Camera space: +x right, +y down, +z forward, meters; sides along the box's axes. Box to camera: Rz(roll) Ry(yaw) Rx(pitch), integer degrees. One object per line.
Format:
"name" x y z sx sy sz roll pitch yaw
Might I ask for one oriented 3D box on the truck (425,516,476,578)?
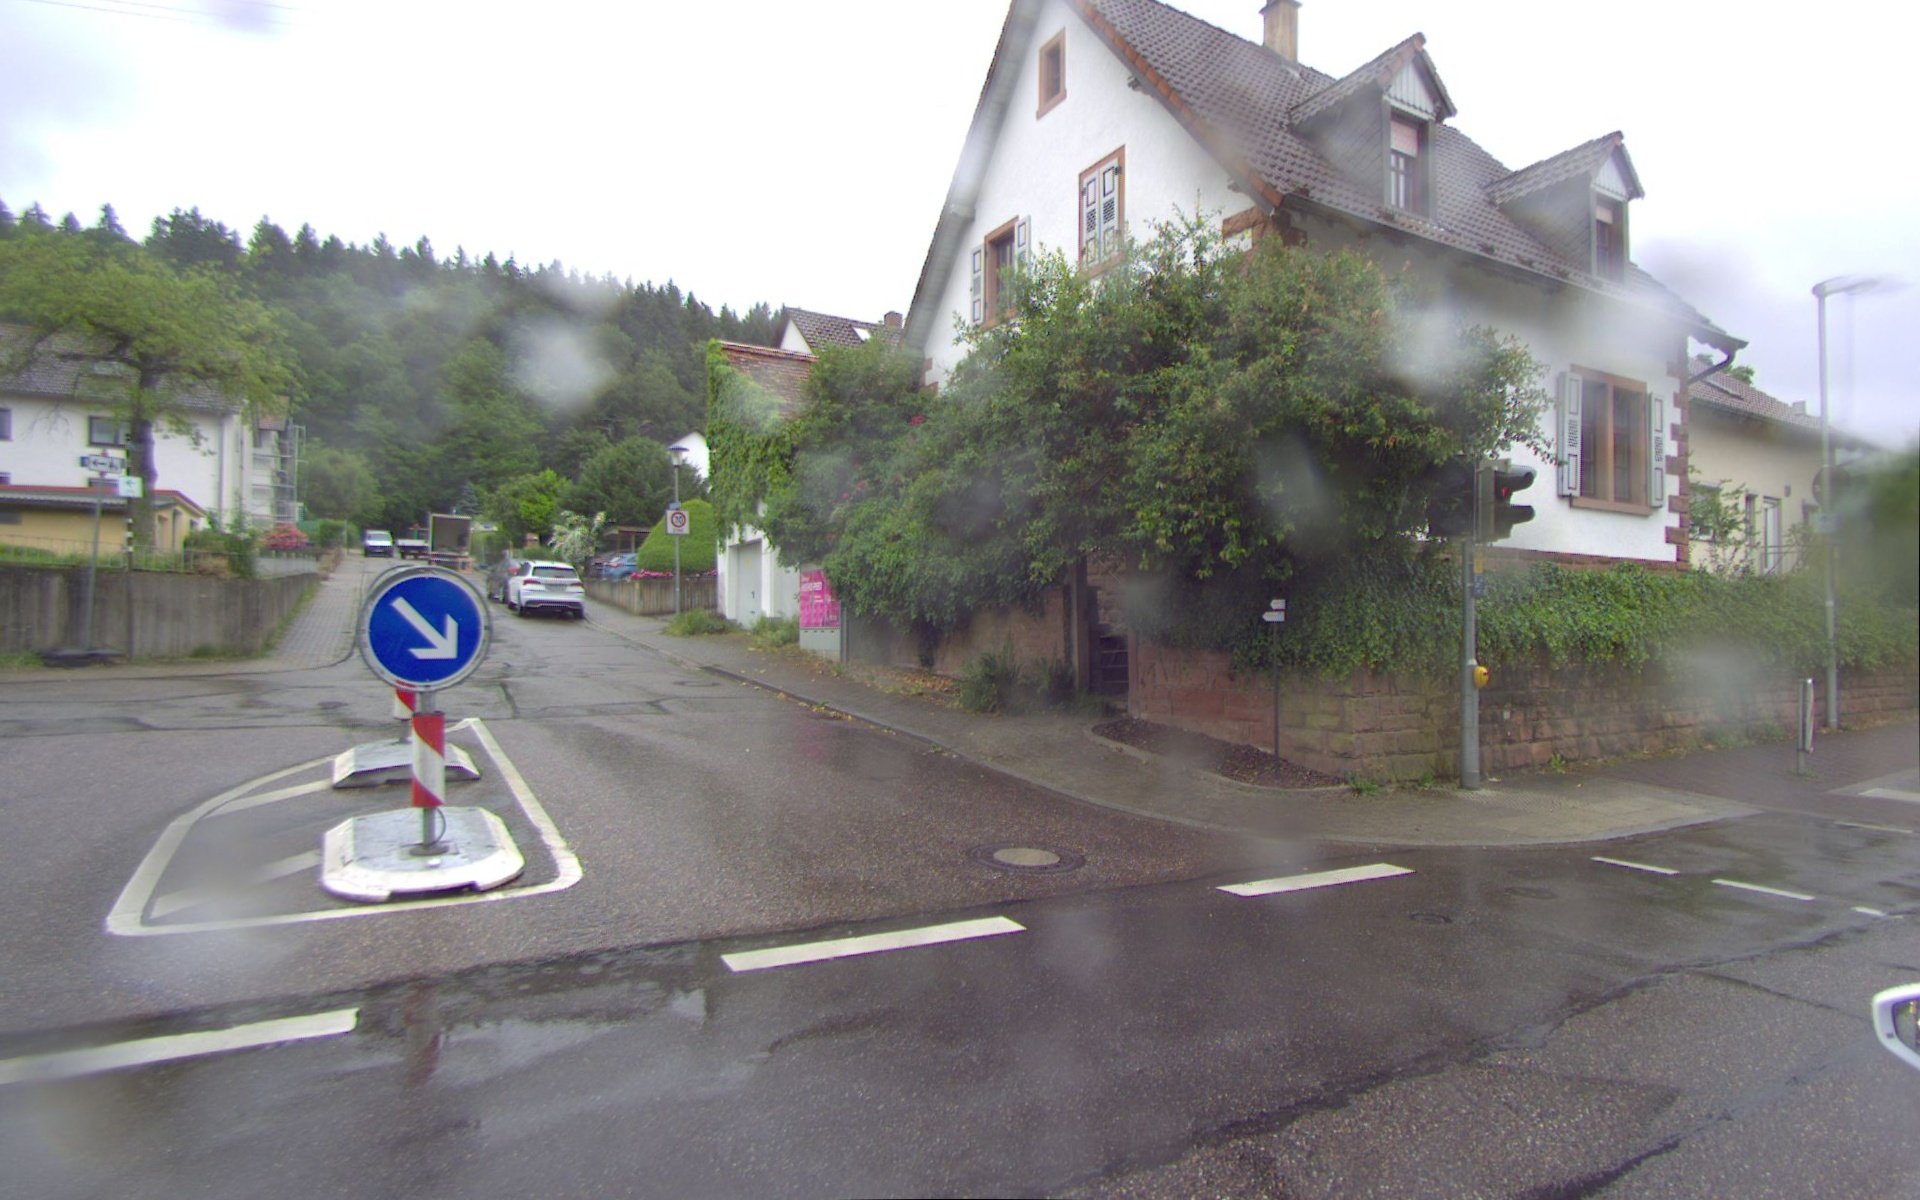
"truck" -30.399 -3.085 59.828 2.424 3.397 6.606 2 1 -29

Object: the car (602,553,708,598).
"car" -12.610 -1.004 41.529 3.846 1.534 1.885 2 5 -30

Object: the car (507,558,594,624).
"car" -12.006 -0.305 29.314 1.878 1.534 3.860 2 5 -29

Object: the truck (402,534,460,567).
"truck" -39.045 -3.571 74.257 2.261 2.155 6.063 2 1 -13

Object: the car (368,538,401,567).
"car" -43.578 -3.571 76.057 1.896 2.040 3.963 2 1 -33
